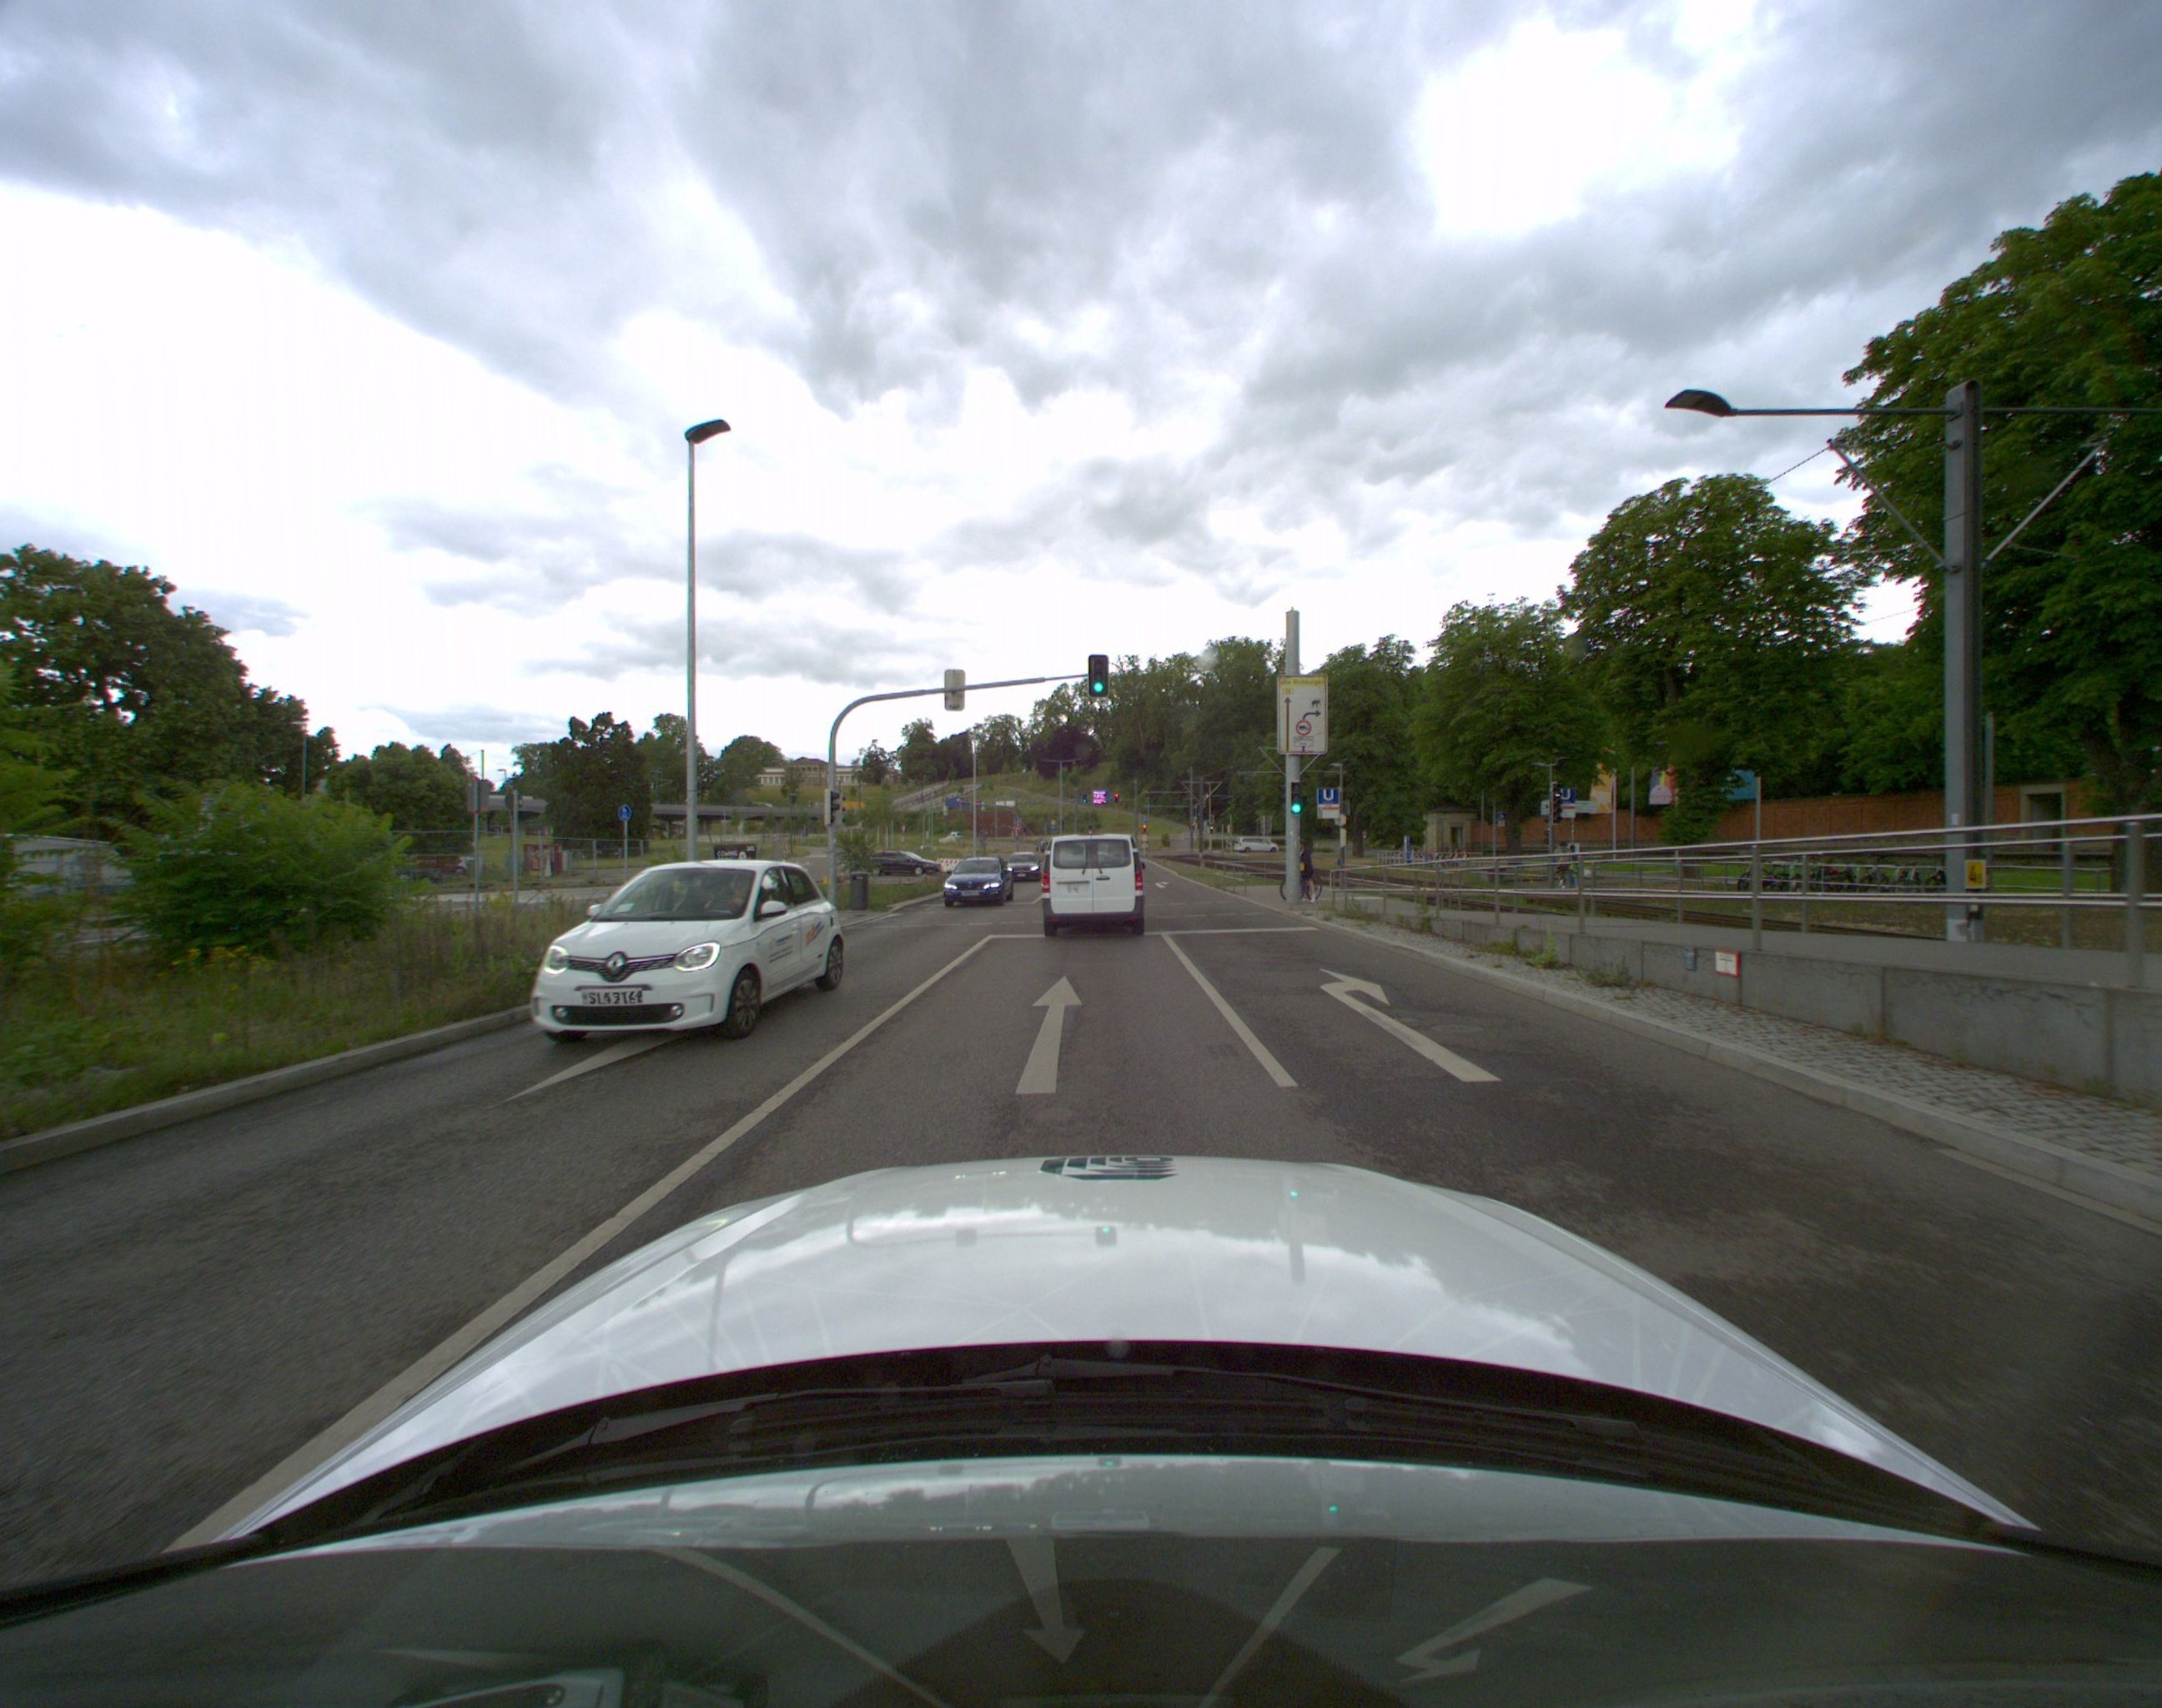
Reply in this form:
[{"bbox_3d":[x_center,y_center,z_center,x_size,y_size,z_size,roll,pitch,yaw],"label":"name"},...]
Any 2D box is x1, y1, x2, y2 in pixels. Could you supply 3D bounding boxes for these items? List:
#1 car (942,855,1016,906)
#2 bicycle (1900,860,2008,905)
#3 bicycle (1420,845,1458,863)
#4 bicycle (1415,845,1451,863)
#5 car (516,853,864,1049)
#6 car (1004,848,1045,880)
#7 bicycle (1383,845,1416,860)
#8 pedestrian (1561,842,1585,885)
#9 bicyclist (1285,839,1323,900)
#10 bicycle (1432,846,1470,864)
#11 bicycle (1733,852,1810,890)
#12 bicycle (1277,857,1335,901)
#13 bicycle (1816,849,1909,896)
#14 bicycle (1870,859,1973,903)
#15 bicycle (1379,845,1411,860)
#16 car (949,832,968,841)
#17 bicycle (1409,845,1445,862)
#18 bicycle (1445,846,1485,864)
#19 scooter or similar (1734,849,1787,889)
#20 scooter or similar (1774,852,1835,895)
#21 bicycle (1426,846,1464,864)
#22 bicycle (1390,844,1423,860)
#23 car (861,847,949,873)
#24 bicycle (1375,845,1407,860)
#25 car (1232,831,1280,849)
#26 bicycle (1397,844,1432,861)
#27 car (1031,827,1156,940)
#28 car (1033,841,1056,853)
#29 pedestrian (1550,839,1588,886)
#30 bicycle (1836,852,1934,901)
[{"bbox_3d":[-3.131,0.760,25.811,1.724,1.421,4.445,-2,0,1],"label":"car"},{"bbox_3d":[20.066,0.649,18.739,1.866,0.963,0.533,2,0,1],"label":"bicycle"},{"bbox_3d":[20.568,0.005,46.819,1.905,0.975,0.531,-1,1,1],"label":"bicycle"},{"bbox_3d":[20.552,0.002,47.560,1.905,0.975,0.531,-1,1,1],"label":"bicycle"},{"bbox_3d":[-3.626,0.764,8.466,1.586,1.517,4.085,1,0,1],"label":"car"},{"bbox_3d":[-2.938,0.499,43.112,1.724,1.528,4.445,-2,0,1],"label":"car"},{"bbox_3d":[20.375,-0.099,52.124,1.905,0.975,0.531,-1,1,1],"label":"bicycle"},{"bbox_3d":[17.581,0.325,29.089,0.498,1.501,0.513,-1,0,-21],"label":"pedestrian"},{"bbox_3d":[5.959,0.387,21.756,0.810,1.572,0.611,-1,2,-38],"label":"bicyclist"},{"bbox_3d":[20.548,0.069,45.232,1.905,0.975,0.531,-1,1,1],"label":"bicycle"},{"bbox_3d":[20.009,0.495,23.609,1.757,1.033,0.484,2,0,1],"label":"bicycle"},{"bbox_3d":[6.029,0.647,21.821,1.692,1.074,0.613,-2,2,-39],"label":"bicycle"},{"bbox_3d":[20.369,0.466,21.253,1.866,1.139,0.533,2,0,1],"label":"bicycle"},{"bbox_3d":[20.062,0.633,19.465,1.866,0.963,0.533,2,0,1],"label":"bicycle"},{"bbox_3d":[20.475,-0.103,53.104,1.905,0.975,0.531,-1,1,1],"label":"bicycle"},{"bbox_3d":[-22.474,-3.260,149.423,1.950,1.627,3.961,0,1,-31],"label":"car"},{"bbox_3d":[20.556,-0.016,48.342,1.905,0.975,0.531,-1,1,1],"label":"bicycle"},{"bbox_3d":[20.777,0.047,44.115,1.905,0.895,0.531,-1,1,1],"label":"bicycle"},{"bbox_3d":[20.581,0.446,24.680,1.152,1.139,0.335,2,0,25],"label":"scooter or similar"},{"bbox_3d":[20.081,0.529,22.606,1.267,1.139,0.334,2,0,8],"label":"scooter or similar"},{"bbox_3d":[20.513,0.063,45.880,1.905,0.975,0.531,-1,1,1],"label":"bicycle"},{"bbox_3d":[20.527,-0.100,51.395,1.905,0.975,0.531,-1,1,1],"label":"bicycle"},{"bbox_3d":[-10.542,0.353,48.841,4.679,1.477,2.007,-1,2,11],"label":"car"},{"bbox_3d":[20.541,-0.109,54.029,1.905,0.975,0.531,-1,1,1],"label":"bicycle"},{"bbox_3d":[20.417,-1.582,95.130,5.131,2.013,2.202,1,0,-8],"label":"car"},{"bbox_3d":[20.699,-0.097,50.578,1.905,0.975,0.531,-1,1,1],"label":"bicycle"},{"bbox_3d":[0.413,0.486,16.329,1.949,1.903,4.471,-2,1,7],"label":"car"},{"bbox_3d":[-5.096,-1.019,113.085,1.946,1.627,3.969,0,1,-24],"label":"car"},{"bbox_3d":[16.976,0.285,28.346,0.835,1.609,0.773,-1,0,-21],"label":"pedestrian"},{"bbox_3d":[20.015,0.546,20.302,1.866,1.139,0.533,2,0,1],"label":"bicycle"}]
